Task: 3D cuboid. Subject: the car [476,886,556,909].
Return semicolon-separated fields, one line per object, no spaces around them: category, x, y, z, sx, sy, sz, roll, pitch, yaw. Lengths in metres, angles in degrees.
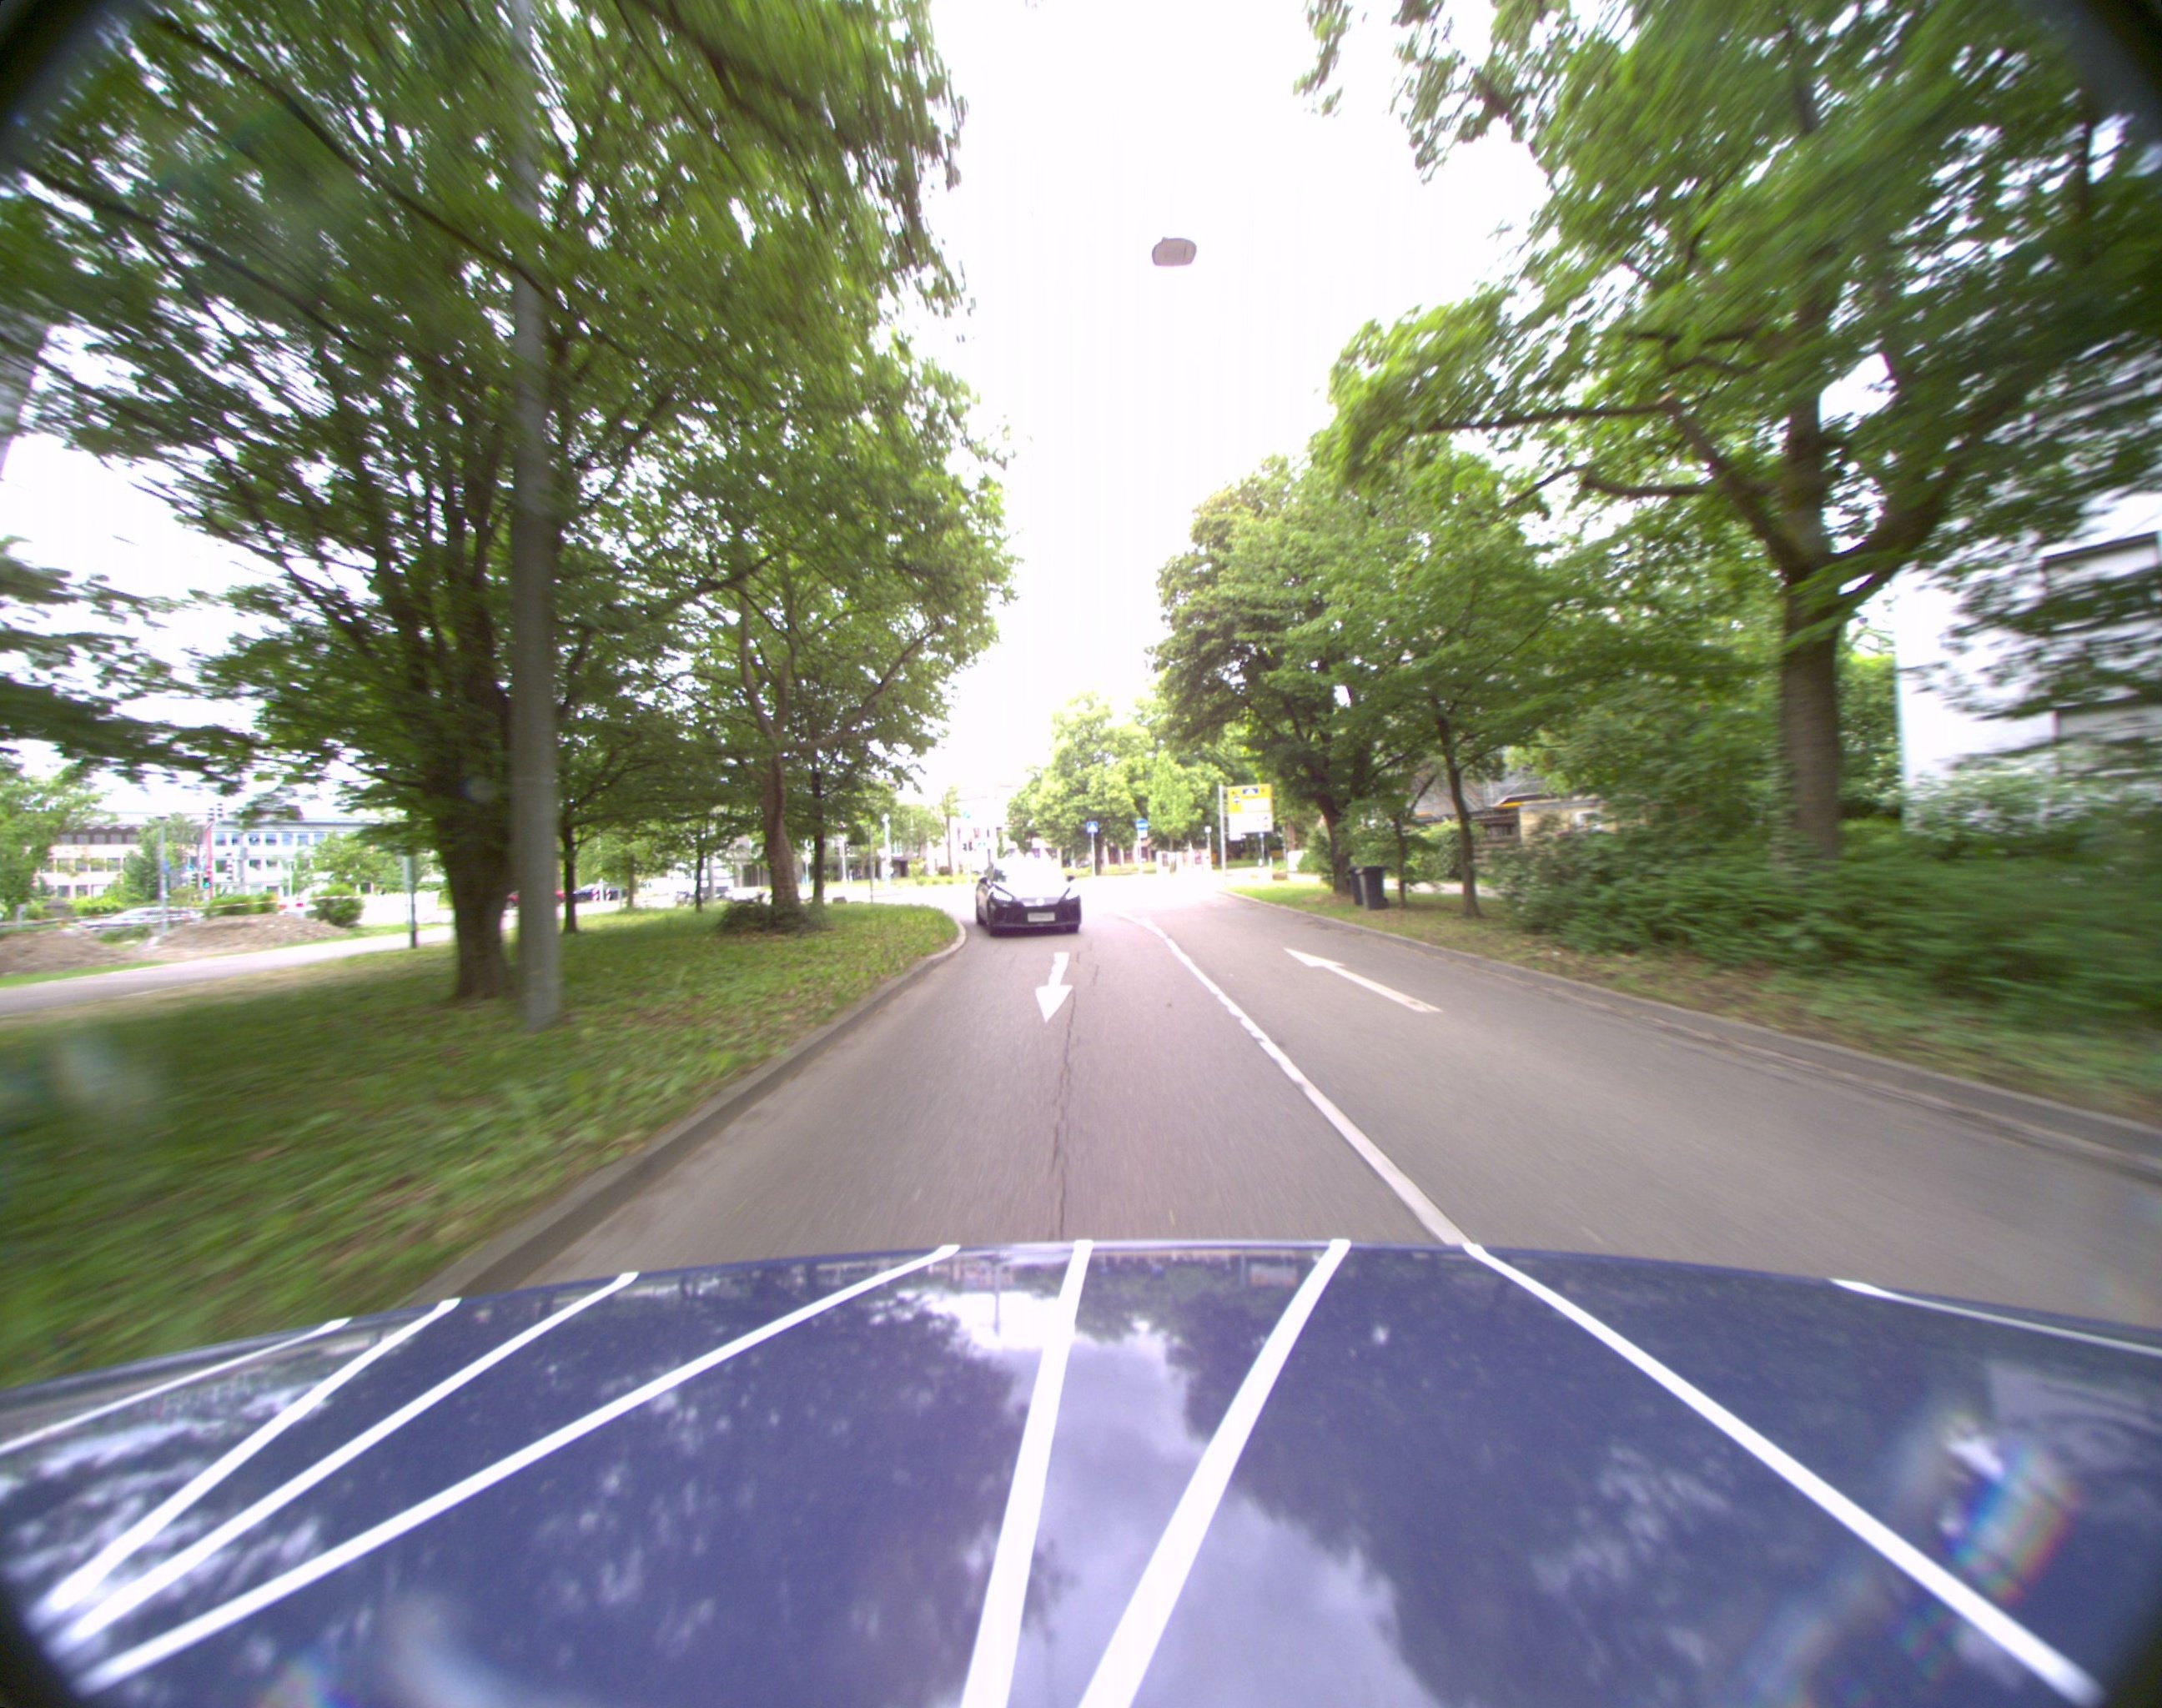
car;-41.541;3.181;55.942;1.821;1.476;4.387;-6;-3;36

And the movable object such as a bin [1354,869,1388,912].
movable object such as a bin;6.434;0.797;16.851;0.619;0.874;0.594;-5;0;21

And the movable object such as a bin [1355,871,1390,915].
movable object such as a bin;6.062;0.804;15.795;0.599;0.840;0.579;-5;0;21

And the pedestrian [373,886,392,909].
pedestrian;-54.325;3.403;59.111;0.615;1.685;0.833;-5;0;26

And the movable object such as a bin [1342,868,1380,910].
movable object such as a bin;6.452;0.801;17.488;0.729;0.858;0.623;-5;0;21

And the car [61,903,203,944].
car;-51.931;3.771;41.693;1.995;1.685;4.611;-6;-1;33

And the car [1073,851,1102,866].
car;1.005;0.621;111.546;1.995;1.805;4.007;-6;-1;40

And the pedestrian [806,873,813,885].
pedestrian;-31.266;2.914;87.569;0.536;1.349;0.657;-5;0;-32

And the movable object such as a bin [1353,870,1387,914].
movable object such as a bin;6.193;0.813;16.286;0.599;0.861;0.579;-5;0;21

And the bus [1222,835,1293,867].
bus;20.412;-0.380;87.574;9.713;2.991;3.046;-4;-1;-45

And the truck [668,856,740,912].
truck;-23.518;1.774;47.256;2.442;3.176;6.449;-3;1;-40

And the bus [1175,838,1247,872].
bus;13.991;0.095;81.174;8.444;2.991;3.046;-4;-1;-45

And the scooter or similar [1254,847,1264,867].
scooter or similar;13.034;0.221;55.691;0.555;1.437;1.594;-5;0;10

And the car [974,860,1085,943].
car;-1.228;0.903;16.315;1.802;1.475;4.015;-1;0;-12
